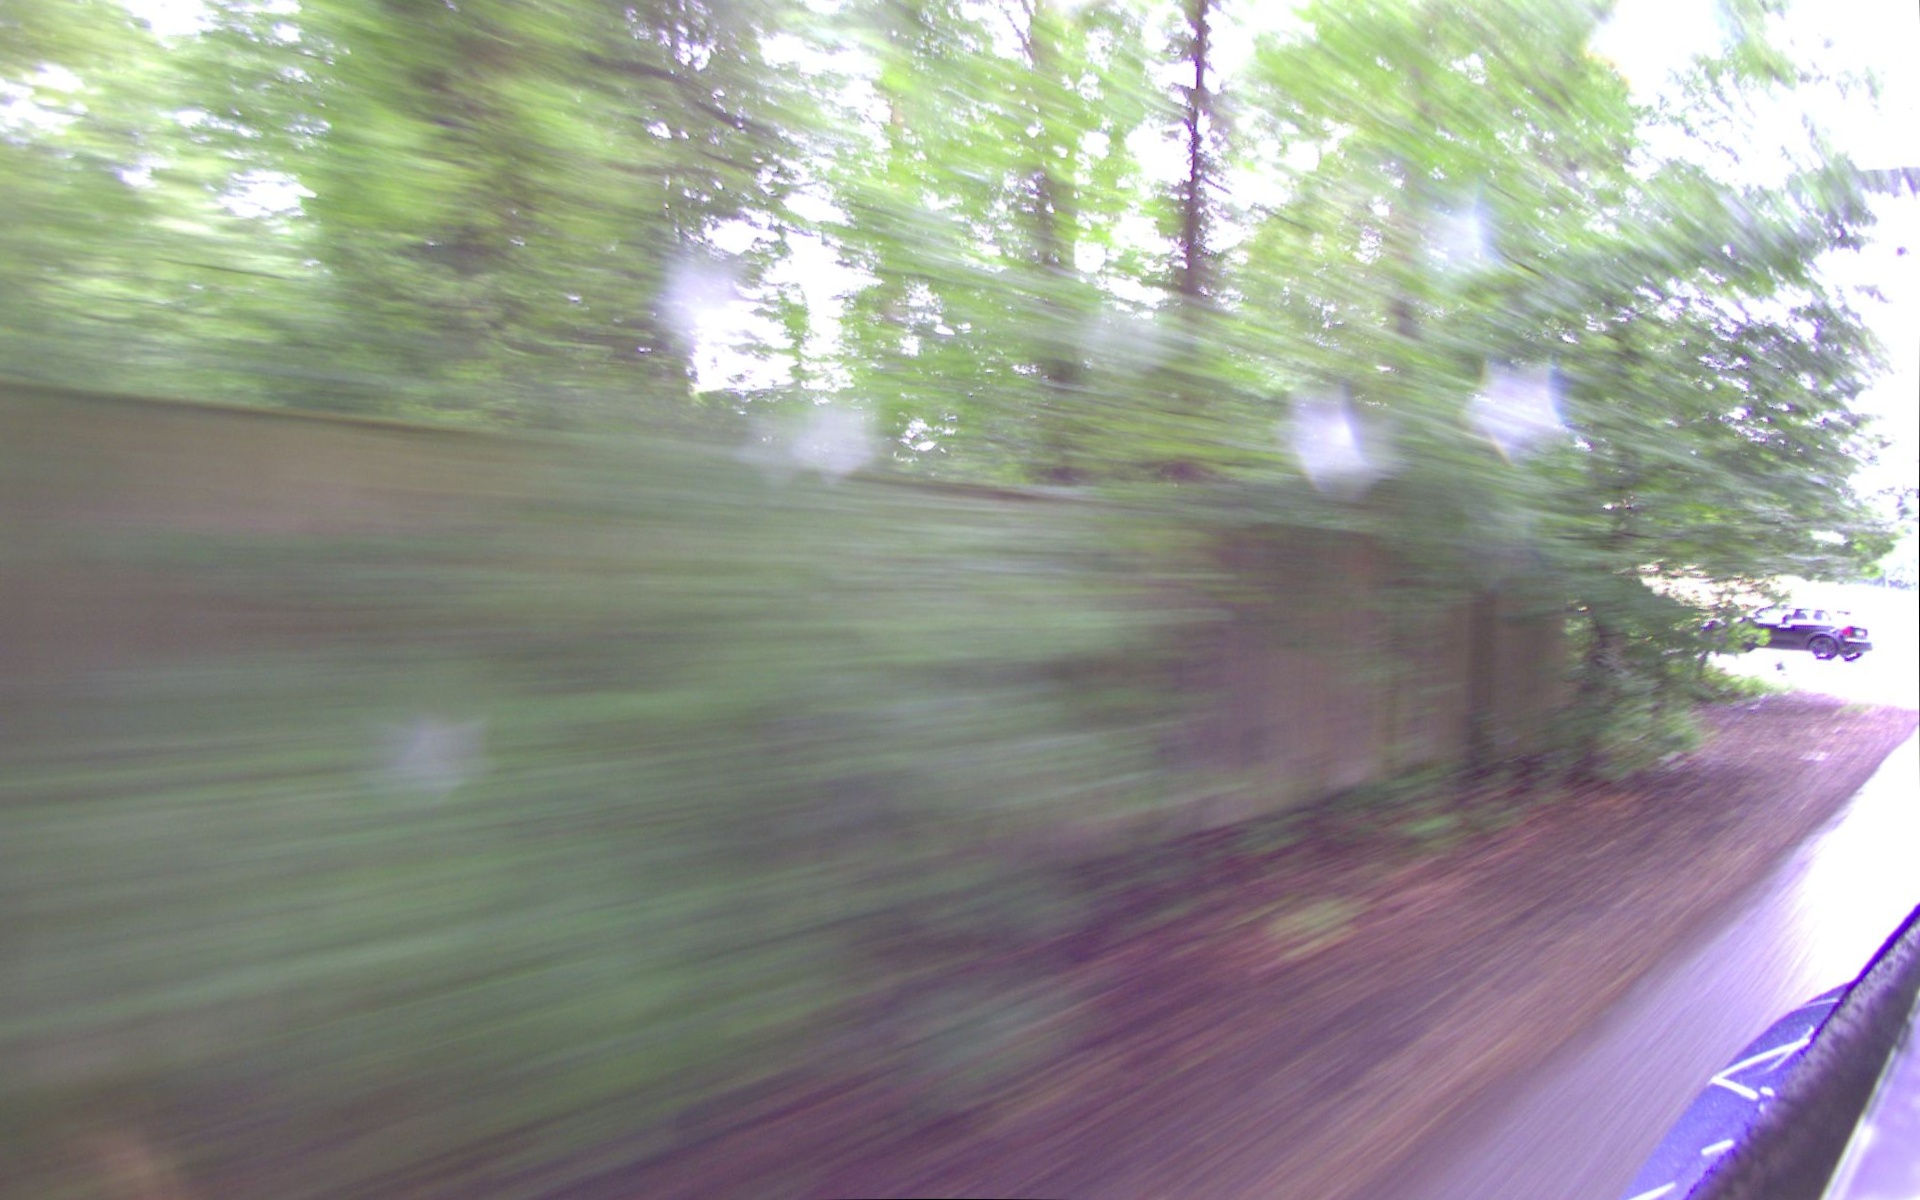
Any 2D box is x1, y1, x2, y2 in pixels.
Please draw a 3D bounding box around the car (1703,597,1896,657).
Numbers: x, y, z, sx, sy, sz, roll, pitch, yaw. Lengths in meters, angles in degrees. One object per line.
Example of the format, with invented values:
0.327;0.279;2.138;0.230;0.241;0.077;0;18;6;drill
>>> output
23.106;0.695;27.990;1.672;1.454;3.725;1;1;-28;car
